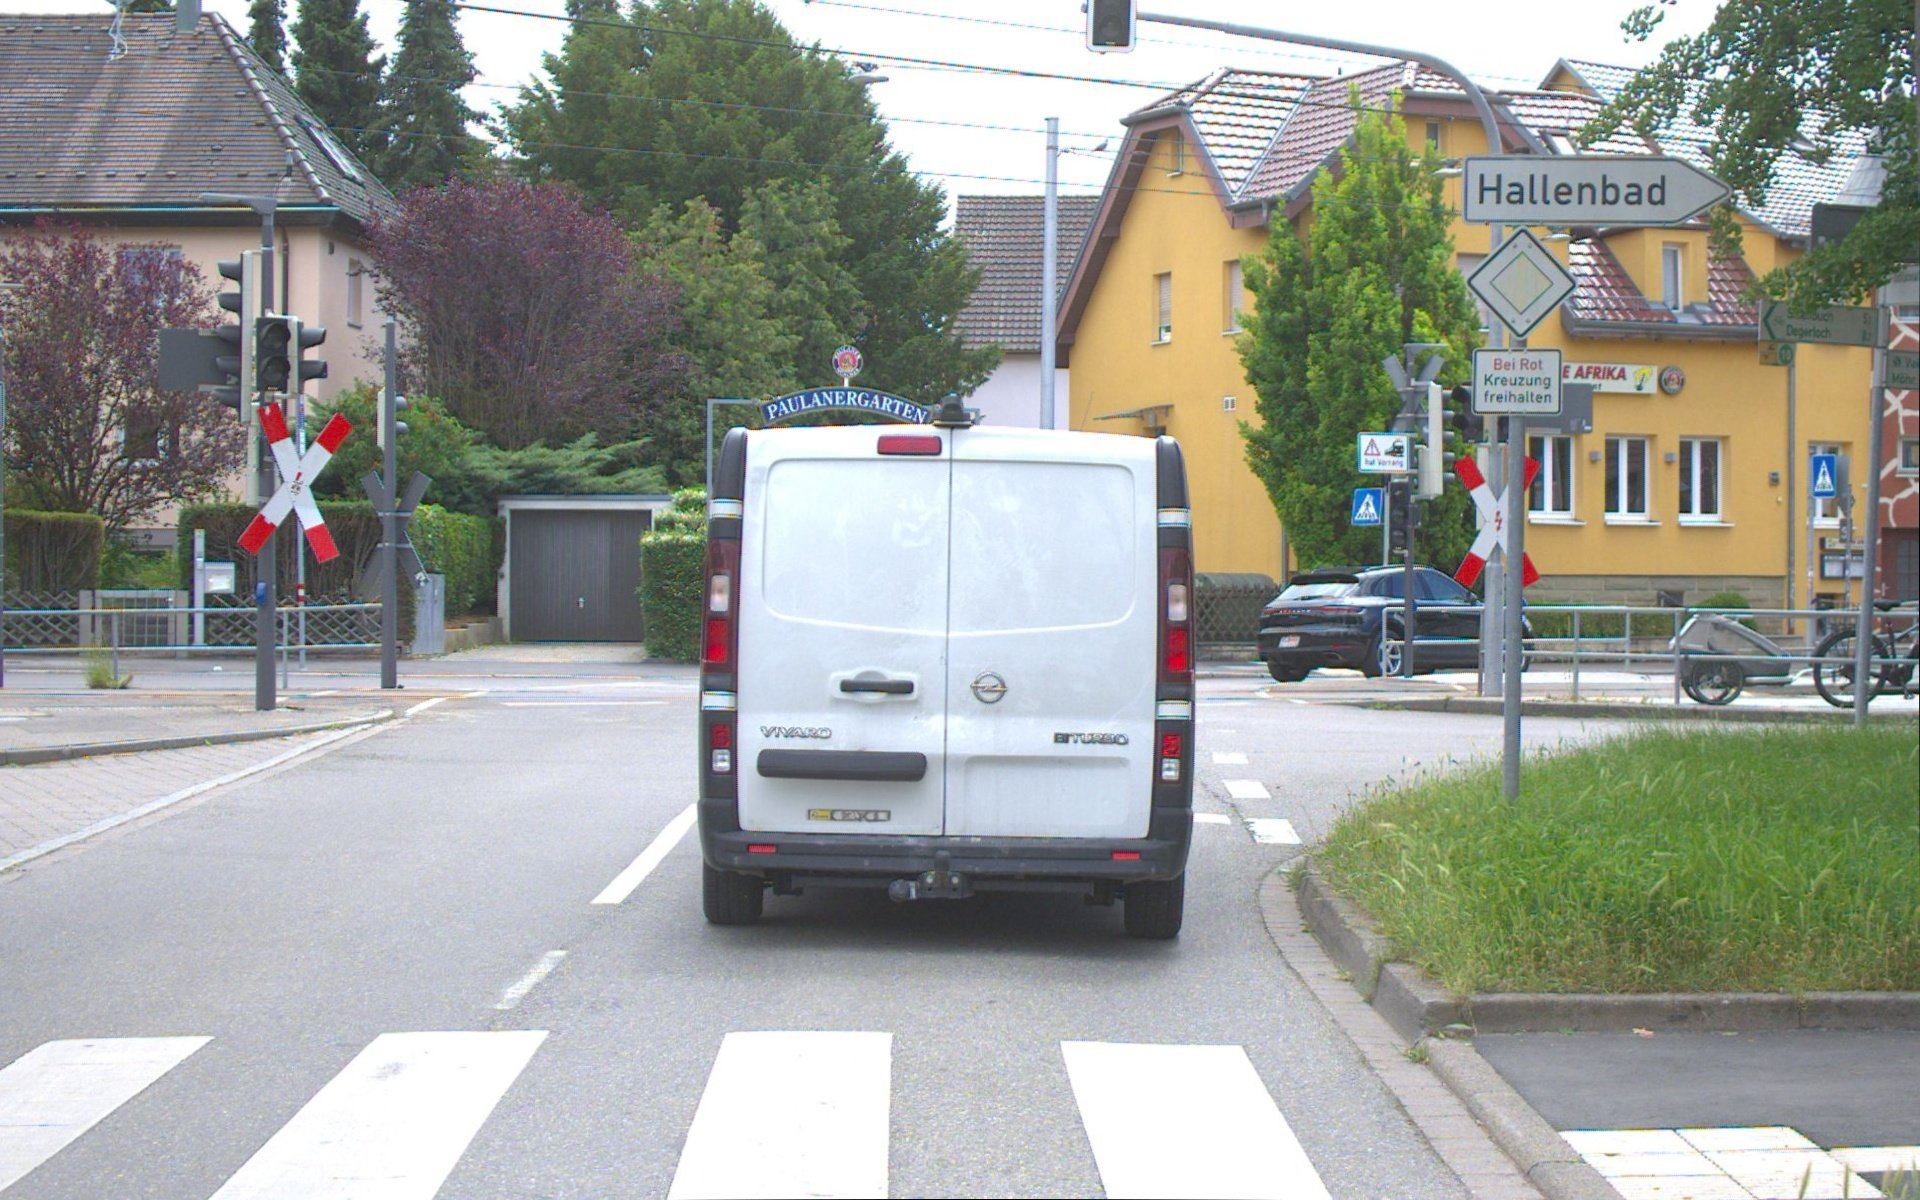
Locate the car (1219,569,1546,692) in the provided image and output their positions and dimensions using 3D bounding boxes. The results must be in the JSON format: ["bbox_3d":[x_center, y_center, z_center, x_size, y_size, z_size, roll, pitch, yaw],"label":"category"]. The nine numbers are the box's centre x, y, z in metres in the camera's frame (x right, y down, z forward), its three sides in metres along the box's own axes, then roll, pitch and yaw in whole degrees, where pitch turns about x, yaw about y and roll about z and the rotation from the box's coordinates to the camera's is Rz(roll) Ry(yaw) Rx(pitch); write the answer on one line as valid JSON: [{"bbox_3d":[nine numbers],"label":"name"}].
[{"bbox_3d":[5.905,0.429,47.772,2.361,1.559,4.361,3,1,43],"label":"car"}]

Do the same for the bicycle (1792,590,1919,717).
[{"bbox_3d":[8.558,0.489,31.654,1.686,1.152,0.467,0,0,-8],"label":"bicycle"}]

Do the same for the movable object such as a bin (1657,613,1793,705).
[{"bbox_3d":[7.047,0.542,31.681,1.091,0.822,0.579,1,0,-4],"label":"movable object such as a bin"}]

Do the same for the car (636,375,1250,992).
[{"bbox_3d":[-0.144,0.258,14.831,2.116,2.127,5.441,1,1,-2],"label":"car"}]
